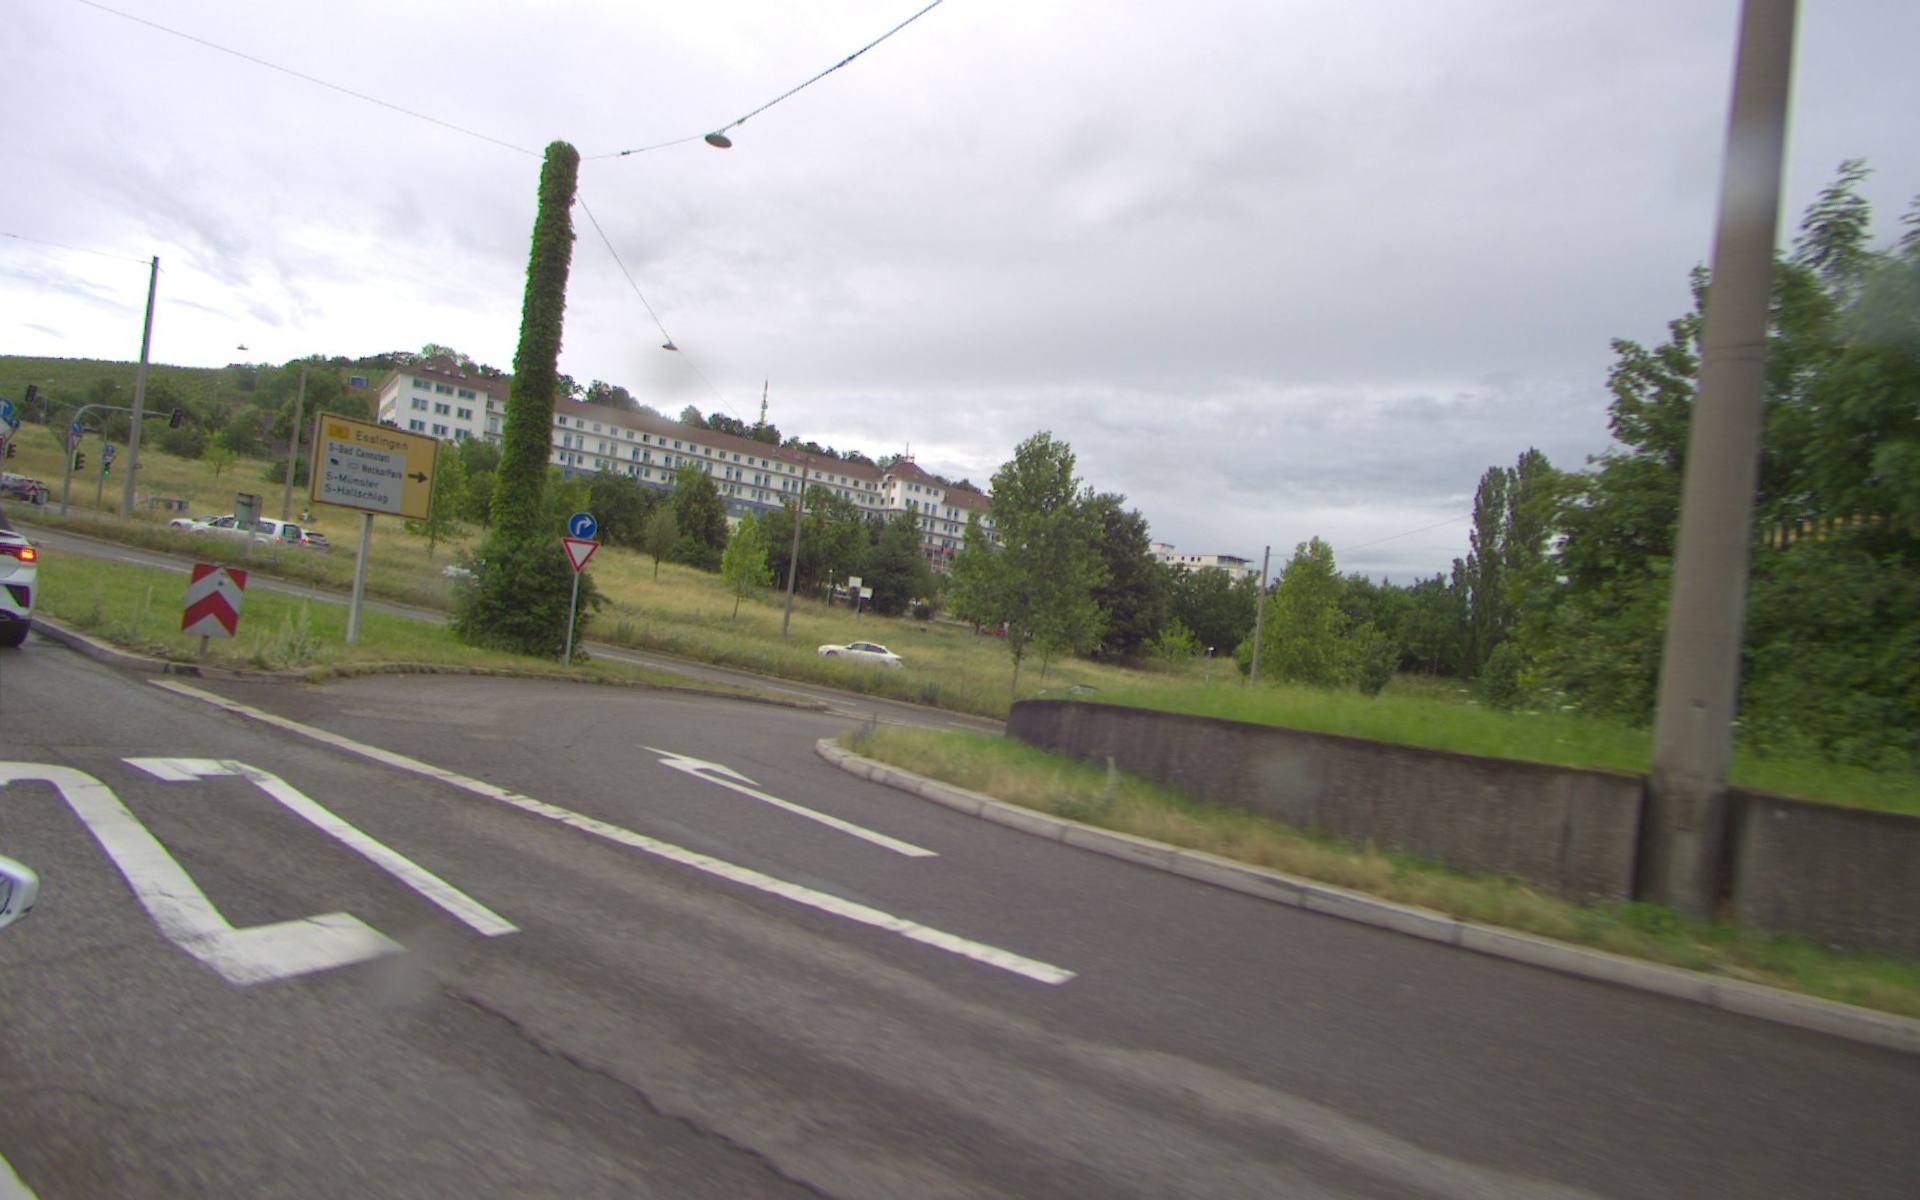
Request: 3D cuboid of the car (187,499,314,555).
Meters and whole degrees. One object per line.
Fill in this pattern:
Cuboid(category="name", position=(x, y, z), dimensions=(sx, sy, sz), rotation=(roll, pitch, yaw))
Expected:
Cuboid(category="car", position=(-33.776, -3.455, 47.965), dimensions=(4.481, 1.733, 1.999), rotation=(10, 2, 2))

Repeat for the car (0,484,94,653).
Cuboid(category="car", position=(-11.256, -0.591, 10.677), dimensions=(4.059, 1.596, 2.000), rotation=(8, -2, 34))

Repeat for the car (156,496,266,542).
Cuboid(category="car", position=(-40.552, -4.361, 54.523), dimensions=(4.478, 1.624, 2.001), rotation=(9, 0, 5))

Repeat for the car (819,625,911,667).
Cuboid(category="car", position=(-4.866, 2.345, 51.765), dimensions=(4.283, 1.305, 1.874), rotation=(10, 2, 4))

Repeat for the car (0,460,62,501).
Cuboid(category="car", position=(-53.855, -6.925, 56.652), dimensions=(4.484, 1.733, 1.997), rotation=(10, 2, -4))

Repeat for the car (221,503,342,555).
Cuboid(category="car", position=(-34.190, -3.573, 50.784), dimensions=(4.581, 1.733, 1.999), rotation=(10, 2, 2))

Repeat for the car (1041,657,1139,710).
Cuboid(category="car", position=(6.560, 4.240, 51.265), dimensions=(4.582, 1.733, 1.873), rotation=(10, 2, 1))

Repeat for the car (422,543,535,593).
Cuboid(category="car", position=(-25.395, -1.657, 53.159), dimensions=(4.806, 1.713, 2.001), rotation=(10, 0, 4))
